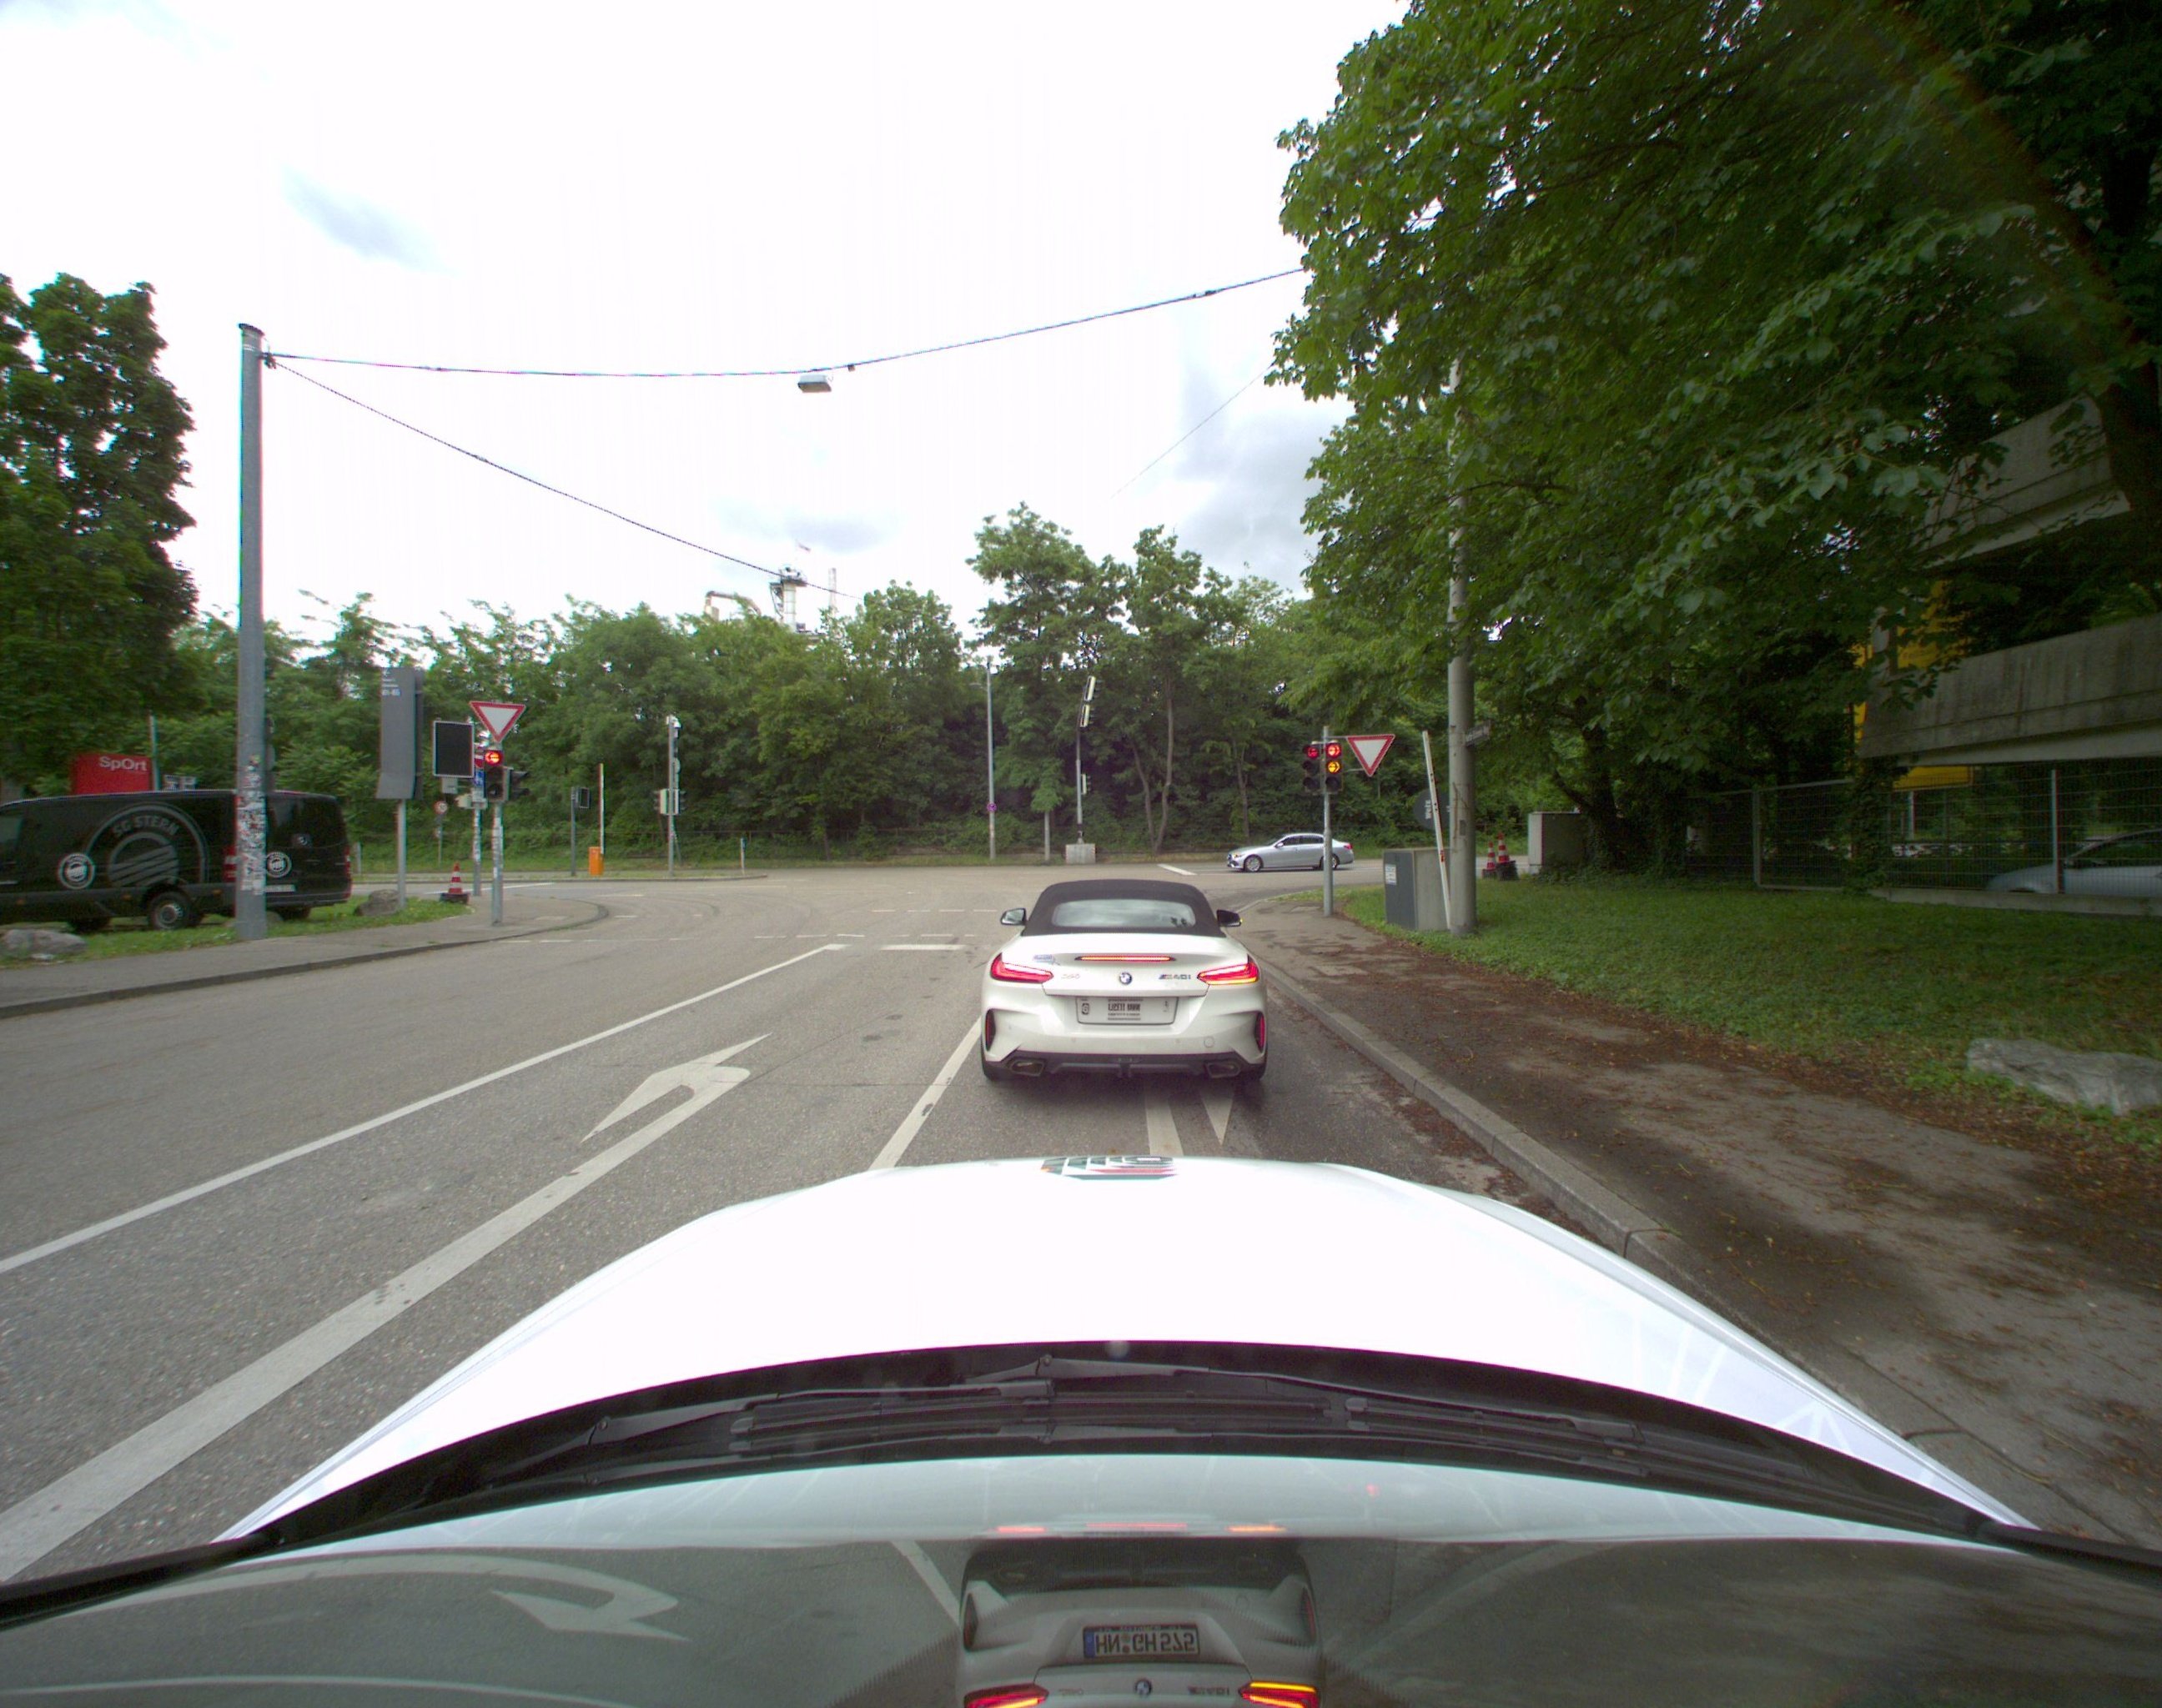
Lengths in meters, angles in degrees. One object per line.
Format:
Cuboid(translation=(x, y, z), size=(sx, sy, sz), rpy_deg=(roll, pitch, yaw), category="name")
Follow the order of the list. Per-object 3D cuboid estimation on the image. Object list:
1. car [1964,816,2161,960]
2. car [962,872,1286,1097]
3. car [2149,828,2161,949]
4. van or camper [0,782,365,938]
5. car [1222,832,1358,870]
Cuboid(translation=(13.615, 0.419, 10.047), size=(1.475, 1.708, 3.720), rpy_deg=(0, -1, 2), category="car")
Cuboid(translation=(0.244, 0.783, 6.582), size=(1.822, 1.257, 3.998), rpy_deg=(0, -1, 0), category="car")
Cuboid(translation=(16.008, 0.446, 9.740), size=(1.574, 1.708, 3.770), rpy_deg=(0, -1, 2), category="car")
Cuboid(translation=(-15.889, 0.155, 13.944), size=(5.513, 2.314, 2.063), rpy_deg=(-2, -2, 2), category="van or camper")
Cuboid(translation=(7.884, -0.149, 30.990), size=(4.738, 1.333, 1.833), rpy_deg=(-1, 2, -2), category="car")
